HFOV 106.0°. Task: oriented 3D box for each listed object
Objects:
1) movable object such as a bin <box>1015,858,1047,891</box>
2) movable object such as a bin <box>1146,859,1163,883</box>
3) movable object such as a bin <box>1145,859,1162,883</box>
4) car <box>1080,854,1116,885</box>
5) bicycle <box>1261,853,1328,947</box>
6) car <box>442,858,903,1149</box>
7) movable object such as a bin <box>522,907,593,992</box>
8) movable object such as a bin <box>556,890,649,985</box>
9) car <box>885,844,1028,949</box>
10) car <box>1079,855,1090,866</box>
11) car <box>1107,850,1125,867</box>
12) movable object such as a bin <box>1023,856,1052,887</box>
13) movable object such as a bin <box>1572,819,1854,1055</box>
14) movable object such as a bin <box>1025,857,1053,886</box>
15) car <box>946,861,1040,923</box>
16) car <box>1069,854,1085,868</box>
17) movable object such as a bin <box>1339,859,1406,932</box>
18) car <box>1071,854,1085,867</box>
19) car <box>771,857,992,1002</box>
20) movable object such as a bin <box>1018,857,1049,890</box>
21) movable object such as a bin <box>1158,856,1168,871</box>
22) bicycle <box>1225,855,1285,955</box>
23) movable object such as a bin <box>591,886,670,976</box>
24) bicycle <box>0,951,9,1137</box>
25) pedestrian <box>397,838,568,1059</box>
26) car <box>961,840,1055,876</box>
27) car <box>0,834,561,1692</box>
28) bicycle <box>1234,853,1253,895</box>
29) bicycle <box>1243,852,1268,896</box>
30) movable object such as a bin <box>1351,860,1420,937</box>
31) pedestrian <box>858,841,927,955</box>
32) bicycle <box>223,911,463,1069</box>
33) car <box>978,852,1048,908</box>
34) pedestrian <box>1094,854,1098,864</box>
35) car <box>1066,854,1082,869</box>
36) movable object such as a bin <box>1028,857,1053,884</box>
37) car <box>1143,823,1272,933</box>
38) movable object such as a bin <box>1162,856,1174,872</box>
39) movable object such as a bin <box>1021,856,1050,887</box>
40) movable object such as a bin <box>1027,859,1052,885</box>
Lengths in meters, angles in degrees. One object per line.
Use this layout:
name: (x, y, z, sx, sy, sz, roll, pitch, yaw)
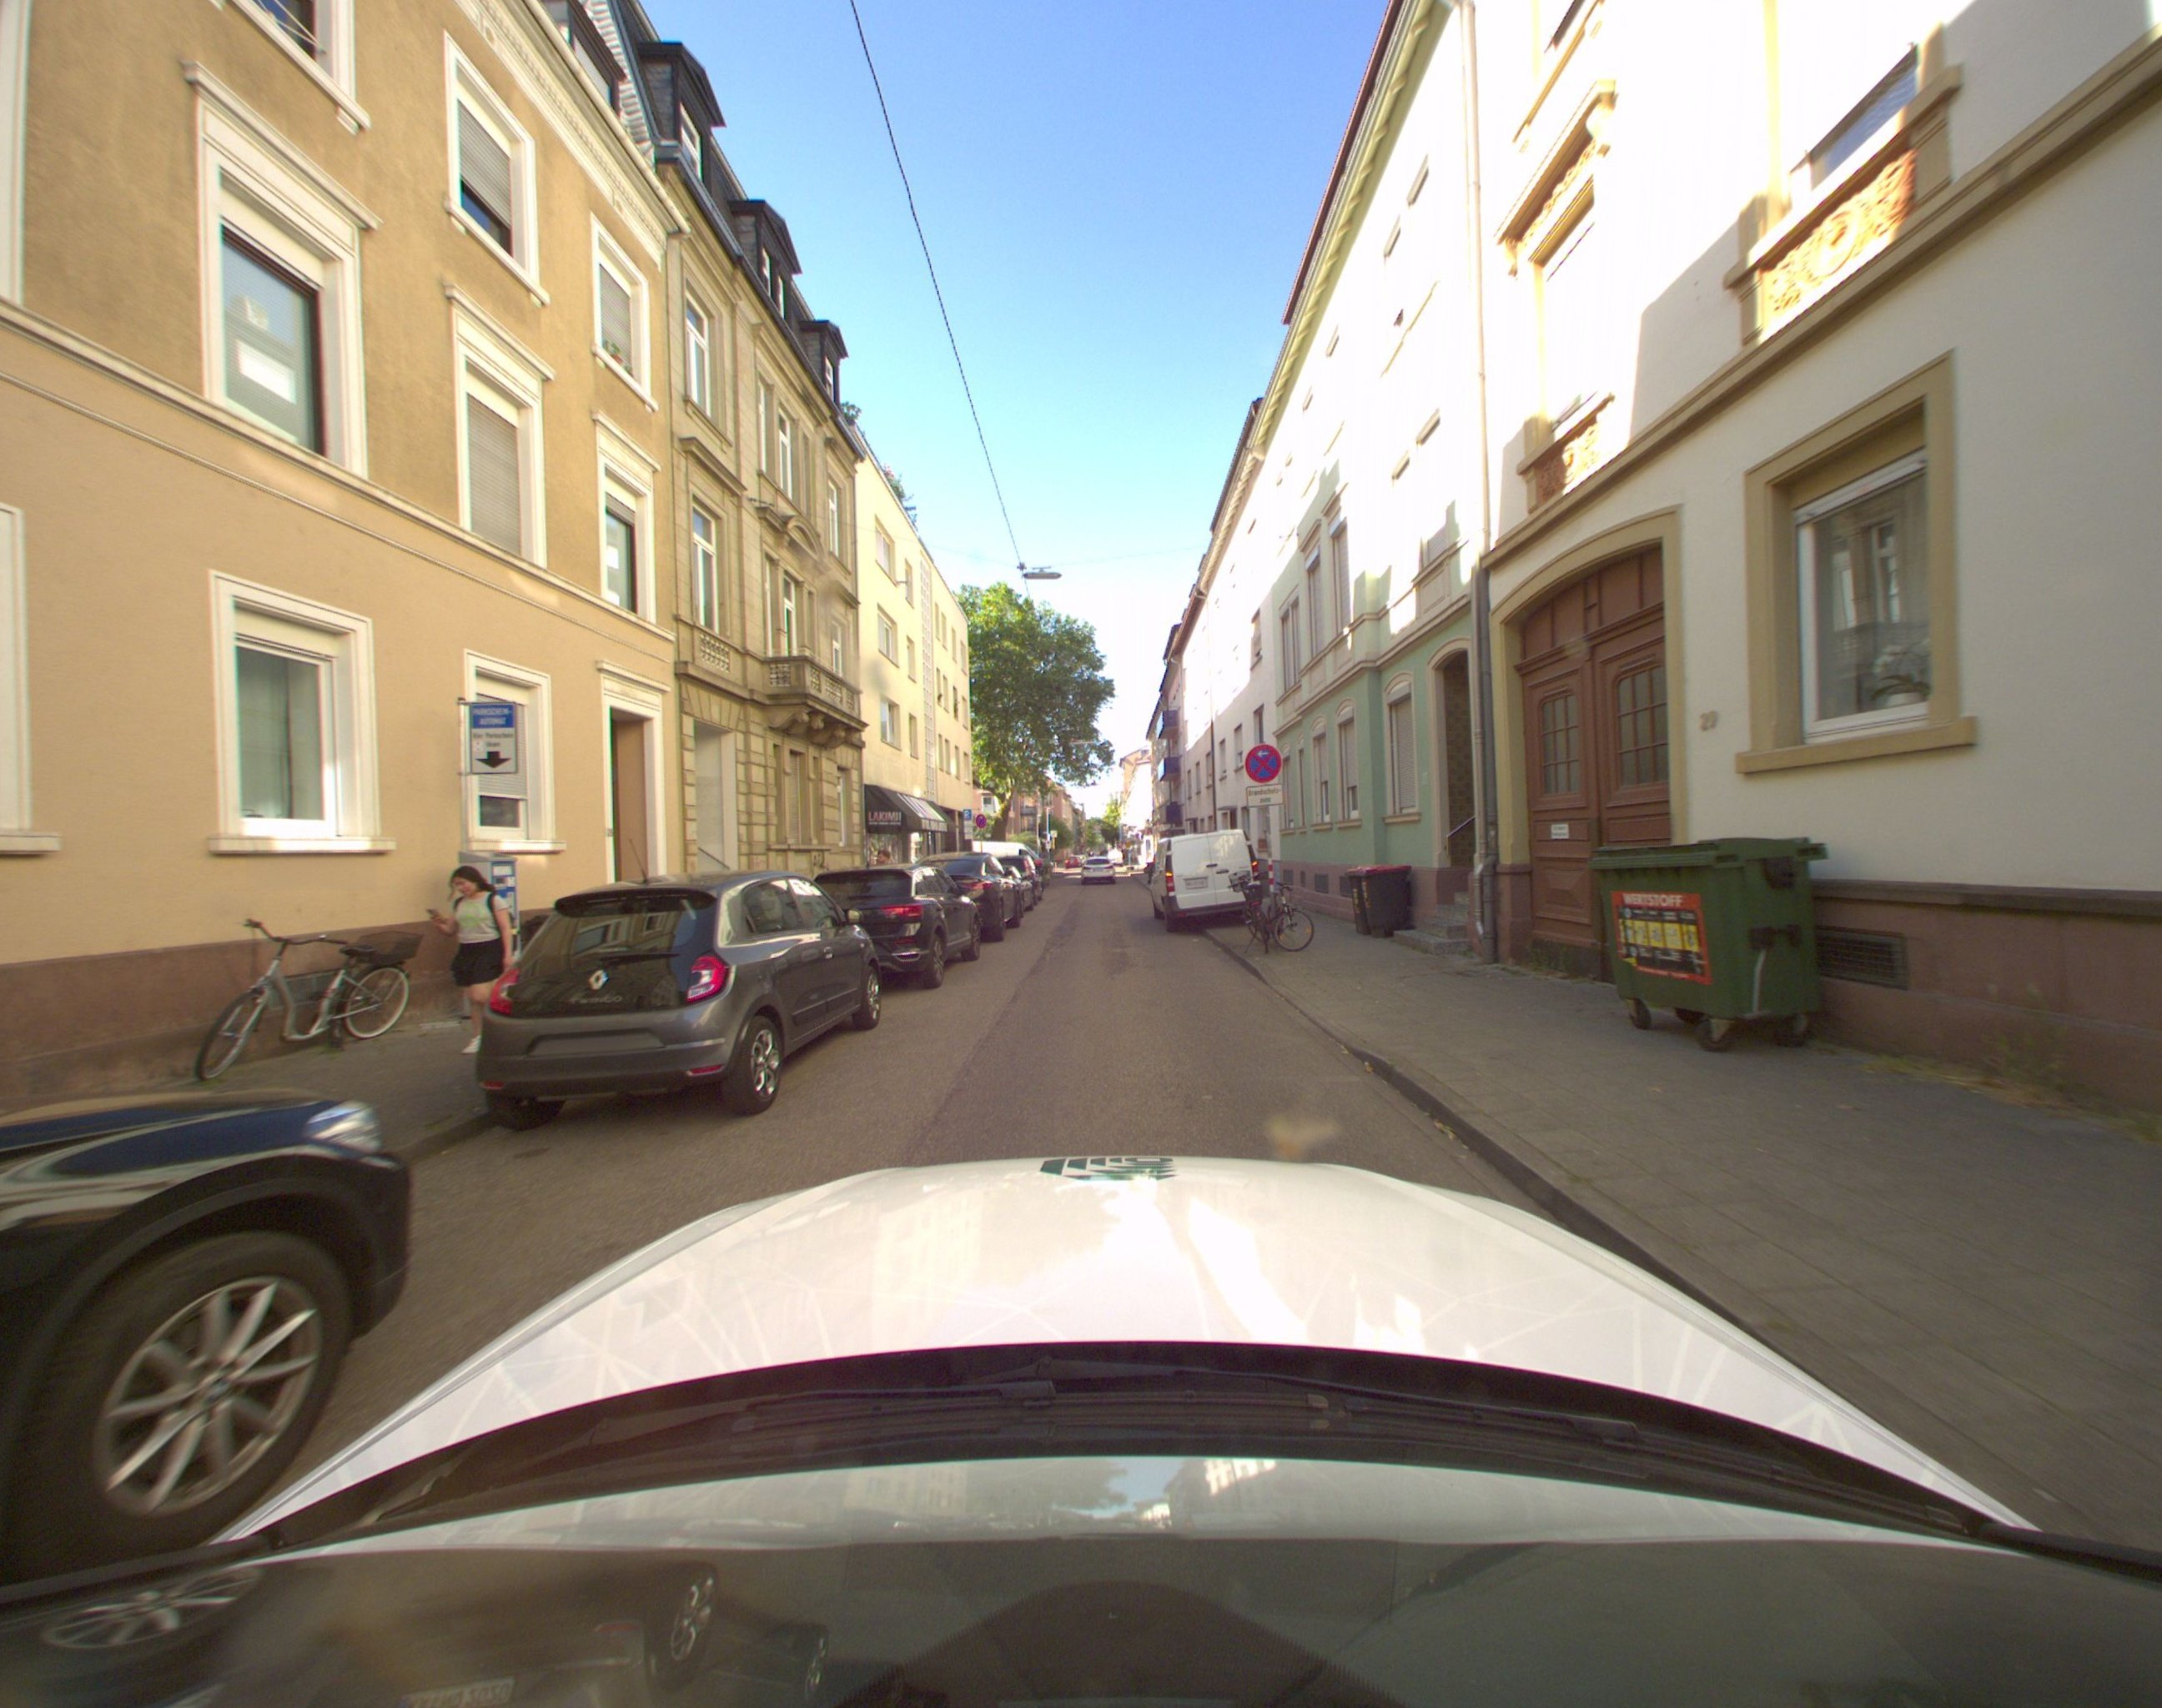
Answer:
movable object such as a bin: (-2.324, 0.946, 38.296, 1.314, 1.450, 1.187, -3, -1, 1)
movable object such as a bin: (3.432, 0.781, 38.042, 0.729, 1.081, 0.704, -2, -1, 2)
movable object such as a bin: (3.447, 0.796, 38.755, 0.765, 1.086, 0.693, -2, -1, 2)
car: (0.922, 0.803, 43.777, 1.817, 1.514, 3.824, -2, 0, 1)
bicycle: (3.210, 0.642, 12.445, 0.572, 1.271, 2.203, -4, 0, 6)
car: (-2.742, 0.855, 6.584, 1.610, 1.553, 3.978, -2, 0, 1)
movable object such as a bin: (-6.164, 1.110, 9.608, 0.471, 0.937, 0.561, 0, 0, -1)
movable object such as a bin: (-6.048, 1.038, 10.336, 0.733, 1.089, 0.682, -2, 1, -2)
car: (-2.357, 0.749, 16.869, 1.929, 1.736, 5.144, -3, 0, 2)
car: (0.543, 1.048, 129.924, 1.566, 1.585, 3.613, -2, -1, 2)
car: (4.278, 0.554, 100.834, 1.937, 1.948, 4.076, -1, 0, -1)
movable object such as a bin: (-2.211, 0.884, 41.551, 1.338, 1.499, 1.018, -1, -1, 1)
movable object such as a bin: (4.293, 0.532, 5.679, 0.834, 1.389, 1.297, -4, -2, 0)
movable object such as a bin: (-2.195, 0.904, 42.619, 1.329, 1.491, 1.082, -1, -1, 1)
car: (-2.313, 0.973, 22.668, 1.838, 1.417, 4.819, -4, -1, 2)
car: (-0.505, 0.848, 103.310, 1.713, 1.682, 3.728, -2, 0, 2)
movable object such as a bin: (4.616, 0.647, 12.942, 0.809, 1.088, 0.674, -2, -1, 3)
car: (-0.336, 0.877, 108.824, 1.629, 1.656, 3.787, -2, -1, 2)
car: (-2.488, 0.867, 11.349, 1.706, 1.531, 4.370, -3, 0, 3)
movable object such as a bin: (-2.284, 0.936, 39.470, 1.329, 1.484, 1.094, -3, -1, 1)
movable object such as a bin: (5.852, 0.693, 58.186, 0.698, 1.073, 0.597, -2, -1, 3)
bicycle: (2.550, 0.692, 12.136, 0.572, 1.320, 2.202, -3, 0, 5)
movable object such as a bin: (-6.046, 1.015, 10.958, 0.717, 1.132, 0.584, -2, -1, -2)
bicycle: (-6.386, 1.060, 3.661, 0.358, 1.028, 1.923, -2, -1, 11)
pedestrian: (-4.960, 0.743, 6.816, 0.762, 1.714, 0.883, -1, -1, 1)
car: (-5.439, 0.320, 61.031, 6.711, 2.555, 2.147, 1, -1, 3)
car: (-2.977, 0.824, 0.790, 1.737, 1.615, 4.606, -3, 0, 3)
bicycle: (4.995, 0.598, 25.106, 0.435, 1.206, 2.271, -2, -1, 9)
bicycle: (5.072, 0.578, 23.768, 0.403, 1.206, 2.162, -2, -1, 5)
movable object such as a bin: (4.572, 0.659, 12.271, 0.793, 1.096, 0.642, -2, -1, 3)
pedestrian: (-3.164, 0.730, 13.756, 0.862, 1.836, 0.884, -2, -1, 2)
bicycle: (-6.220, 1.080, 7.009, 0.401, 1.056, 1.835, -2, -1, -1)
car: (-2.232, 0.835, 28.052, 1.776, 1.666, 4.672, -3, 0, 2)
pedestrian: (2.625, 0.963, 145.534, 0.645, 1.797, 0.639, -2, -1, 2)
car: (-0.868, 0.884, 97.715, 1.763, 1.589, 3.727, -2, 1, 1)
movable object such as a bin: (-2.204, 0.892, 44.811, 1.297, 1.451, 1.116, -1, -1, -2)
car: (2.595, 0.438, 18.102, 1.976, 1.883, 5.601, -6, 0, 1)
movable object such as a bin: (5.997, 0.675, 56.237, 0.727, 1.104, 0.693, -2, -1, -1)
movable object such as a bin: (-2.262, 0.886, 40.515, 1.343, 1.487, 1.003, -1, -1, 1)
movable object such as a bin: (-2.206, 0.970, 43.711, 1.236, 1.322, 1.046, -1, -1, 1)
